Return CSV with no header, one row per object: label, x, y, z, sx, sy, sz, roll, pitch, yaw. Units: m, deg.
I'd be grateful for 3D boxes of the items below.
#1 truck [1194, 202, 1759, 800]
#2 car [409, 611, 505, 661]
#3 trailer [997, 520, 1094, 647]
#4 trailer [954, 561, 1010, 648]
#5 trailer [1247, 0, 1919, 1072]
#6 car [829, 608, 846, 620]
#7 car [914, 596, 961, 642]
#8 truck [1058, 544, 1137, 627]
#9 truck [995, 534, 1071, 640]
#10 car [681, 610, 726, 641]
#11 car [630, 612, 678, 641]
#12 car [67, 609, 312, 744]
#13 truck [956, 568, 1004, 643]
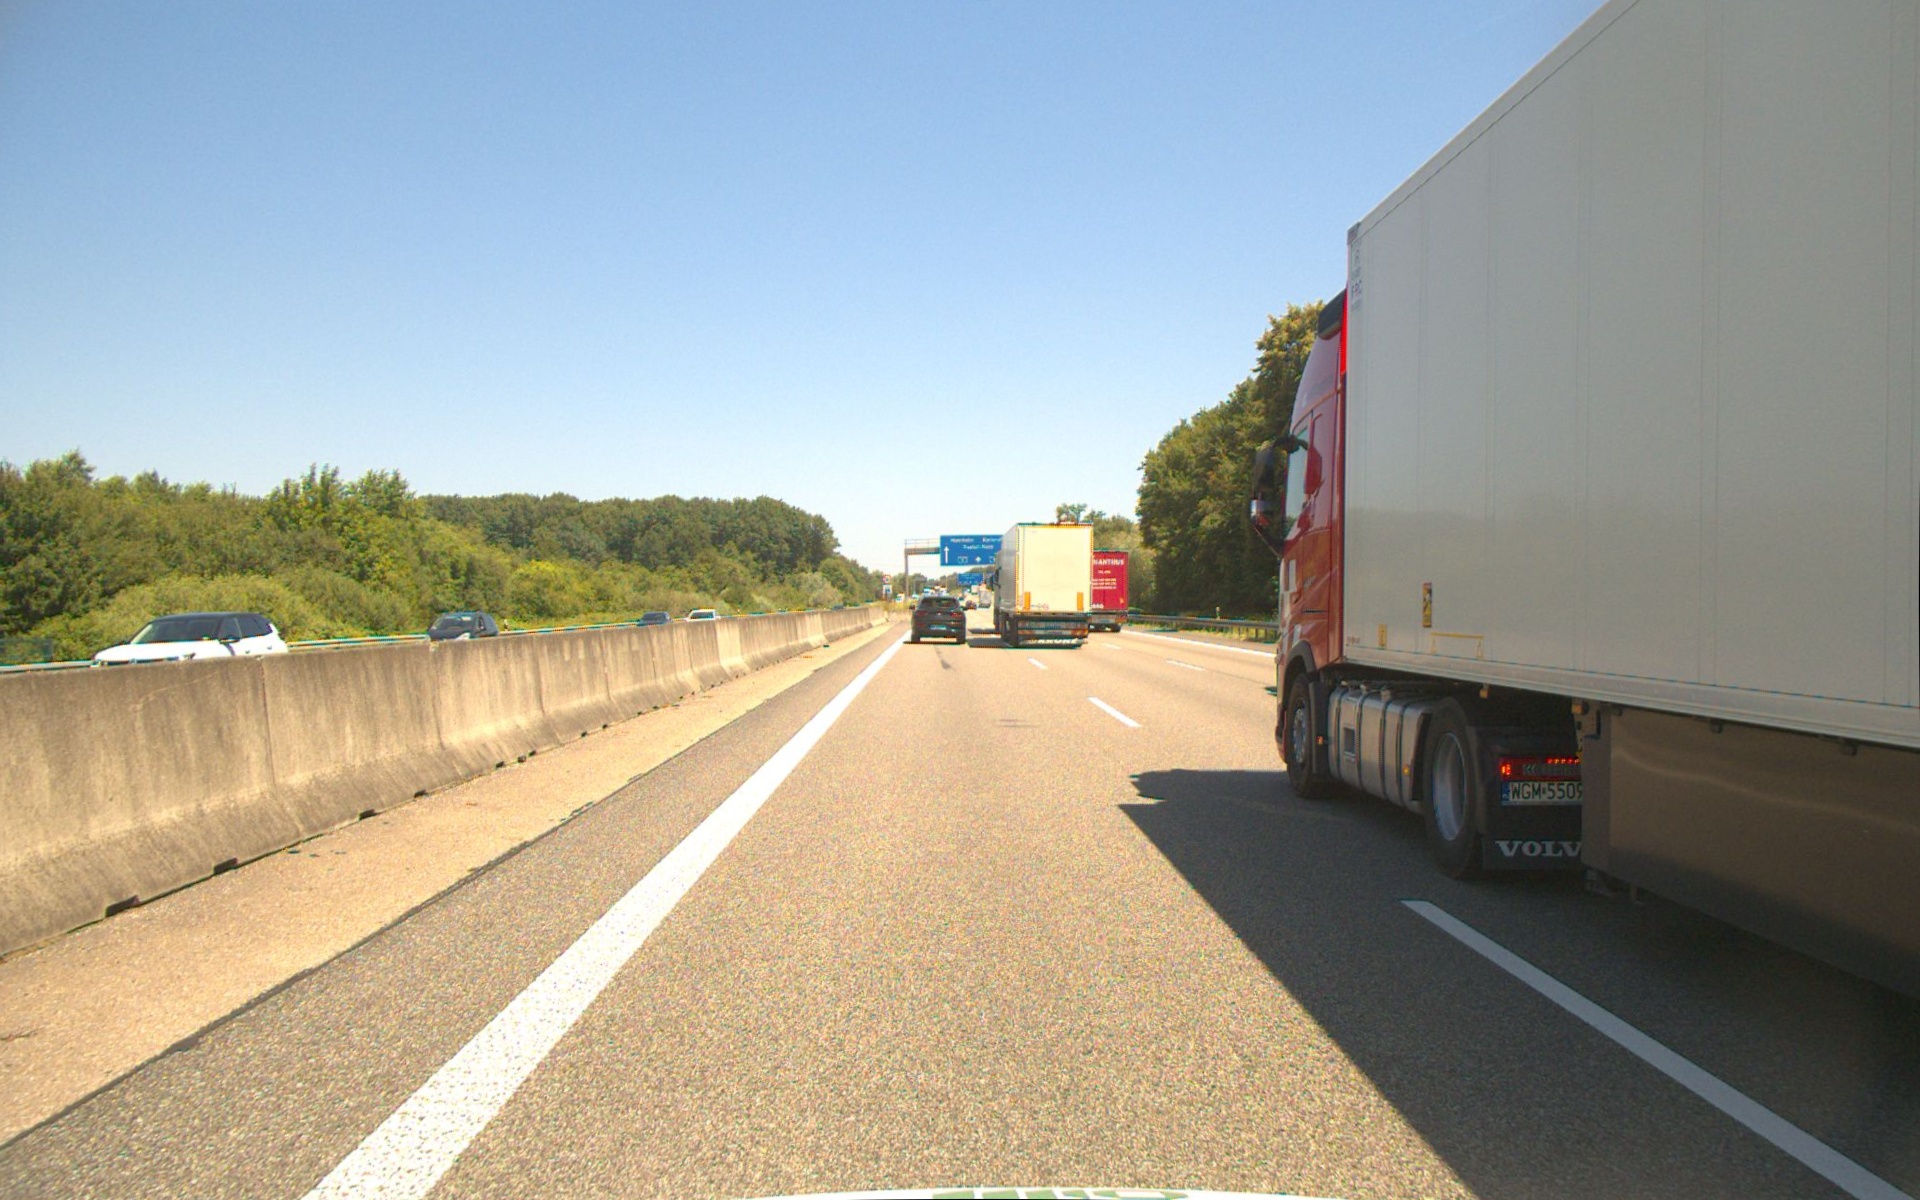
truck,3.976,-0.662,14.369,2.881,4.055,6.100,1,0,-1
car,-17.685,1.226,58.398,1.953,1.585,4.683,-2,0,-1
trailer,2.917,-0.533,59.829,2.738,4.106,12.566,0,0,0
trailer,1.088,0.273,86.908,2.652,4.139,14.745,0,-1,0
trailer,4.120,-0.698,6.410,2.878,4.088,16.196,1,0,-1
car,-15.085,1.699,203.574,1.734,1.497,3.999,-1,0,-1
car,-0.812,0.646,59.541,1.626,1.576,3.782,-1,0,-1
truck,7.395,-0.707,90.877,2.993,4.178,13.214,1,0,-1
truck,2.860,-0.497,66.421,2.743,4.077,6.020,0,0,-1
car,-13.918,1.355,90.007,1.738,1.565,4.683,-2,0,-1
car,-17.778,1.505,96.272,1.869,1.504,4.824,-3,0,-1
car,-13.323,1.236,28.995,1.953,2.049,4.937,-3,0,-1
truck,1.125,0.349,96.238,2.645,4.166,6.453,0,-1,0
